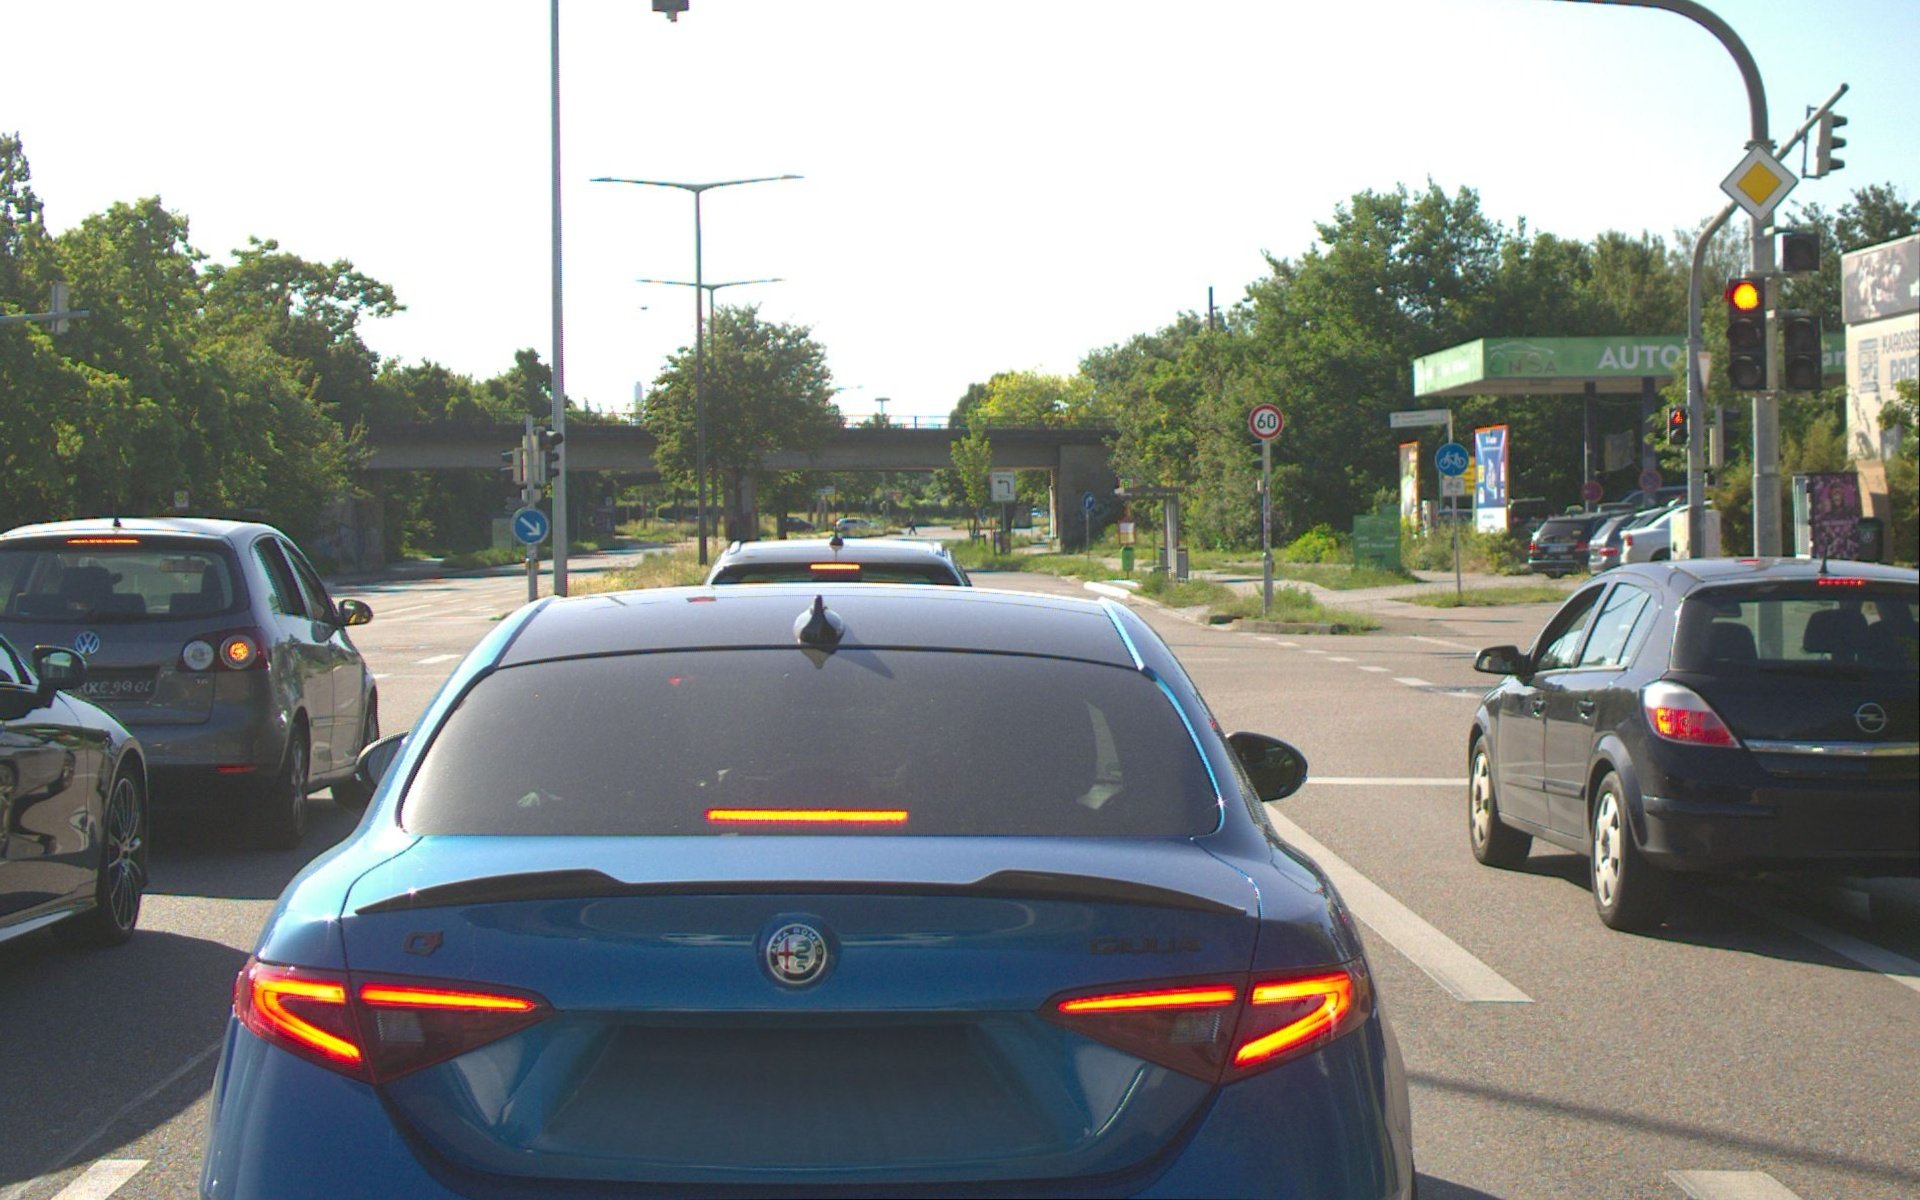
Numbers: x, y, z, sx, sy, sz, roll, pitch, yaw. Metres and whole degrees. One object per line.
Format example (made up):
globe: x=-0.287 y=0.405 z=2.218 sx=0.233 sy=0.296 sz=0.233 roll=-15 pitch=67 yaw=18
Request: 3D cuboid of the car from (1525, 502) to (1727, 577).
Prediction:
car: x=14.444 y=-1.309 z=74.687 sx=3.987 sy=1.547 sz=2.000 roll=1 pitch=0 yaw=1

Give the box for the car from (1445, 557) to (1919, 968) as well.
car: x=3.257 y=0.560 z=14.484 sx=1.734 sy=1.437 sz=4.372 roll=1 pitch=1 yaw=-1

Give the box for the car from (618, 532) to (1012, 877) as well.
car: x=-0.610 y=0.442 z=16.976 sx=1.704 sy=1.492 sz=3.719 roll=1 pitch=1 yaw=1

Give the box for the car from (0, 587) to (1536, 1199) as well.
car: x=-0.220 y=0.709 z=6.114 sx=1.910 sy=1.418 sz=3.719 roll=1 pitch=1 yaw=1

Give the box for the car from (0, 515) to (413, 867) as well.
car: x=-3.962 y=0.381 z=17.414 sx=1.812 sy=1.546 sz=4.354 roll=1 pitch=1 yaw=-2

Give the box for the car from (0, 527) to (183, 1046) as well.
car: x=-3.773 y=0.545 z=10.605 sx=1.812 sy=1.546 sz=4.544 roll=0 pitch=1 yaw=-1

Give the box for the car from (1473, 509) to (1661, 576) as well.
car: x=14.695 y=-1.386 z=83.308 sx=3.986 sy=1.547 sz=2.001 roll=1 pitch=0 yaw=-18
